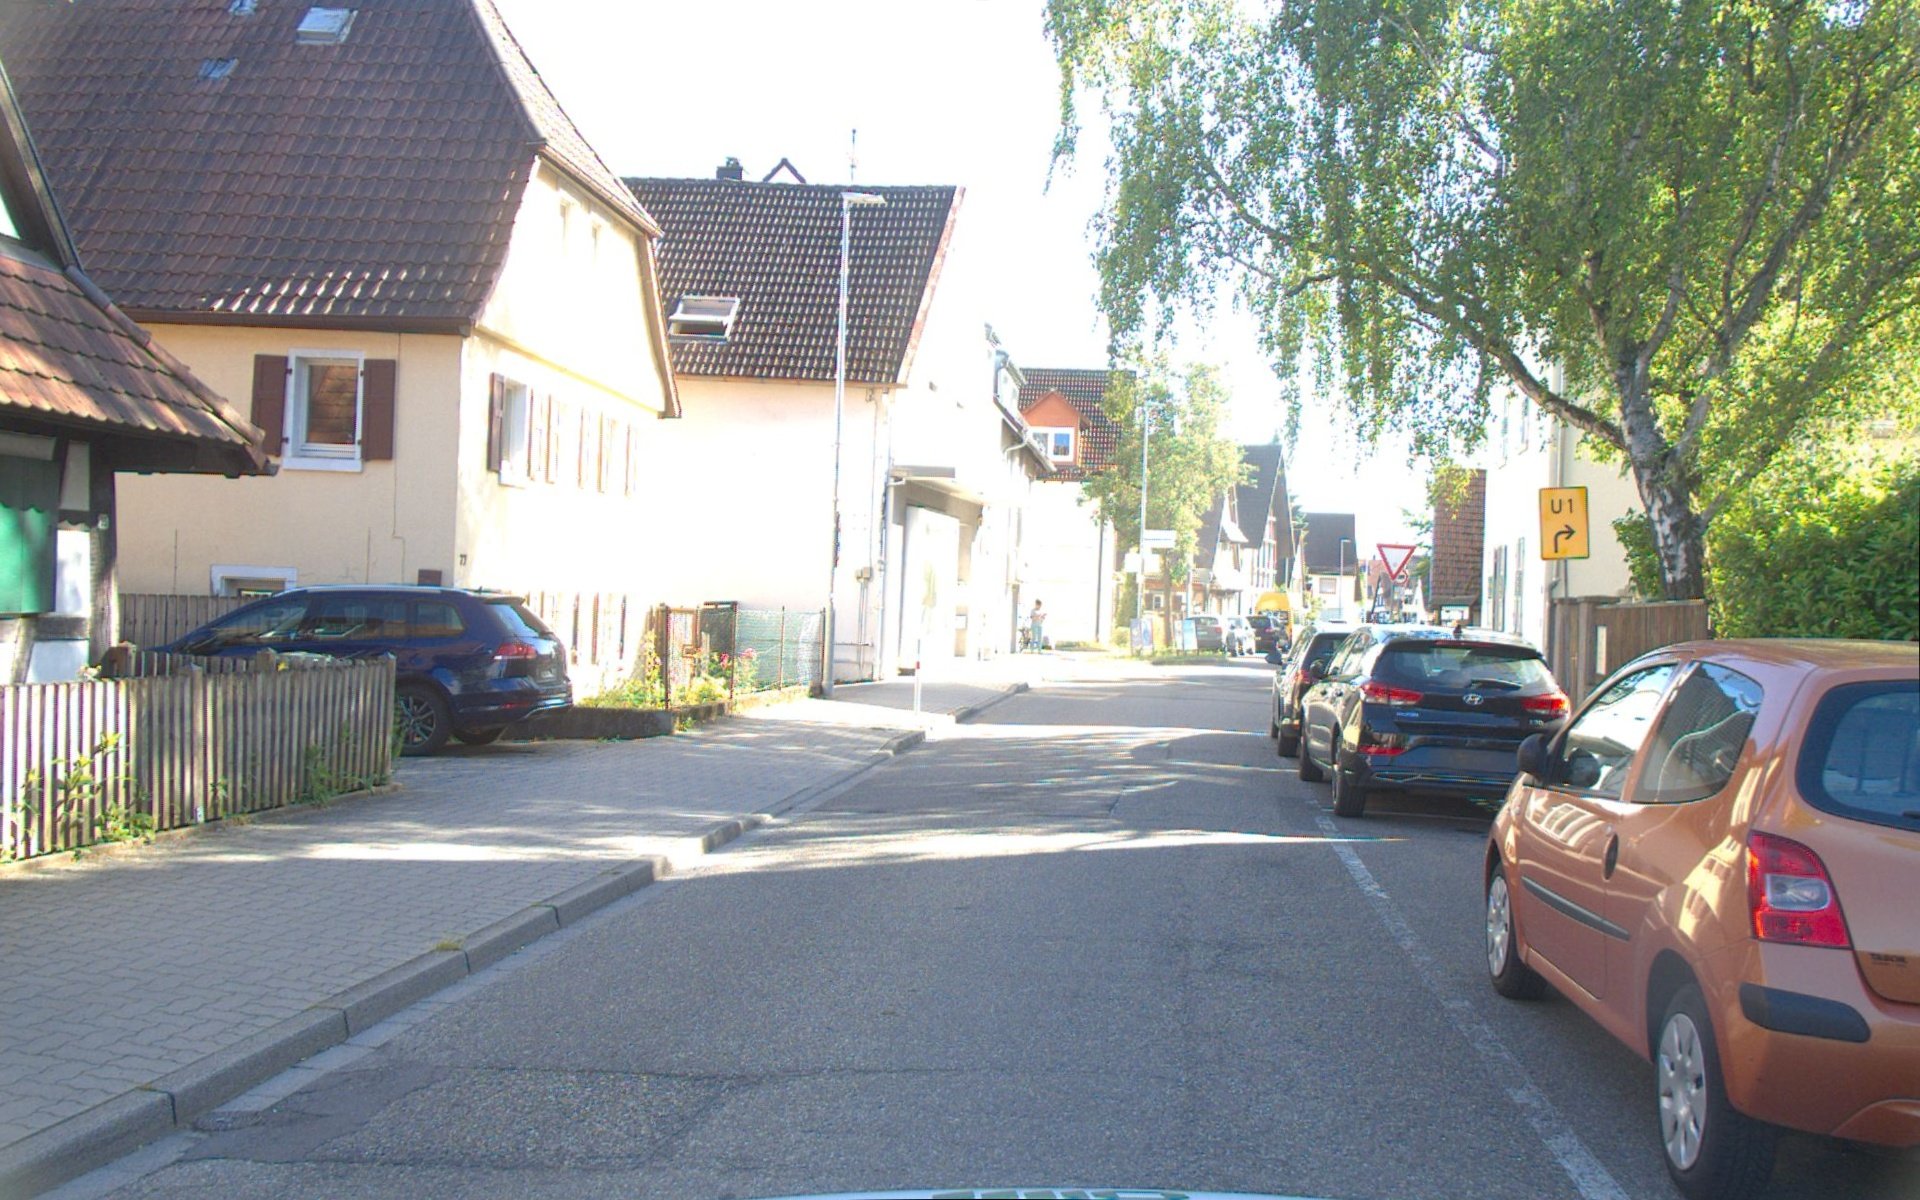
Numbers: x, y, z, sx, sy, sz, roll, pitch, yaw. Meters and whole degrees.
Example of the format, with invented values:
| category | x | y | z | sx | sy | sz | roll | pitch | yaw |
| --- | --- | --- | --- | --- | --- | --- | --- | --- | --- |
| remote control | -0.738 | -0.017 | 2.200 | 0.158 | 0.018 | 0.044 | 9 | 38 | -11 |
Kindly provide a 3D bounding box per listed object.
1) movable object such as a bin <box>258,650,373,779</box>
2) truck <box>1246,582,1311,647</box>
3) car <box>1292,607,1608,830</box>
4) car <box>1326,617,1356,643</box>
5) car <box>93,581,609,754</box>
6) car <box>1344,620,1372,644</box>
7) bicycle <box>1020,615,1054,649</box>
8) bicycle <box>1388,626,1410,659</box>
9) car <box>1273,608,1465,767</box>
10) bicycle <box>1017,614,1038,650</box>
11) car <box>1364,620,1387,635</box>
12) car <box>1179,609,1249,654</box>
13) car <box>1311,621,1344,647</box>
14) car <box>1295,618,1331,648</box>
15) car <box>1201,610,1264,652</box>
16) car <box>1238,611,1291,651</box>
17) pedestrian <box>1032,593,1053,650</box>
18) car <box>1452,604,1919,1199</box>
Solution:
| category | x | y | z | sx | sy | sz | roll | pitch | yaw |
| --- | --- | --- | --- | --- | --- | --- | --- | --- | --- |
| movable object such as a bin | -4.769 | 0.831 | 12.248 | 0.572 | 0.913 | 0.554 | -1 | -1 | 29 |
| truck | 15.330 | 0.736 | 79.425 | 2.221 | 2.918 | 5.784 | 2 | -1 | 19 |
| car | 3.923 | 0.853 | 13.956 | 1.769 | 1.461 | 4.289 | 3 | 0 | 6 |
| car | 23.188 | 1.828 | 100.508 | 1.555 | 1.468 | 3.617 | 3 | 0 | 16 |
| car | -5.511 | 0.576 | 15.300 | 4.071 | 1.487 | 1.849 | 0 | 0 | 4 |
| car | 25.857 | 2.062 | 107.298 | 1.555 | 1.468 | 3.617 | 3 | 0 | 16 |
| bicycle | 2.531 | 1.050 | 54.188 | 0.566 | 1.071 | 2.037 | 2 | -2 | 17 |
| bicycle | 16.318 | 1.581 | 61.440 | 0.425 | 1.197 | 1.827 | 2 | 0 | 26 |
| car | 4.480 | 0.881 | 18.659 | 1.769 | 1.461 | 4.289 | 3 | 0 | 10 |
| bicycle | 2.086 | 0.988 | 50.795 | 0.414 | 1.071 | 1.382 | 2 | -1 | 10 |
| car | 47.713 | 3.163 | 190.041 | 1.932 | 1.610 | 3.997 | 3 | 0 | 5 |
| car | 9.491 | 1.174 | 61.619 | 1.828 | 1.532 | 4.108 | 2 | -1 | 19 |
| car | 20.530 | 1.885 | 92.277 | 1.555 | 1.359 | 3.617 | 3 | 0 | 16 |
| car | 18.783 | 1.765 | 87.969 | 1.611 | 1.457 | 3.617 | 3 | 0 | 16 |
| car | 10.871 | 1.253 | 65.790 | 1.769 | 1.532 | 4.108 | 2 | -1 | 19 |
| car | 13.697 | 1.407 | 74.268 | 1.769 | 1.650 | 3.882 | 2 | -1 | 19 |
| pedestrian | 2.534 | 0.654 | 50.884 | 0.473 | 1.722 | 0.557 | 3 | -2 | 14 |
| car | 2.876 | 0.818 | 5.555 | 1.613 | 1.504 | 3.936 | 3 | 0 | 6 |
